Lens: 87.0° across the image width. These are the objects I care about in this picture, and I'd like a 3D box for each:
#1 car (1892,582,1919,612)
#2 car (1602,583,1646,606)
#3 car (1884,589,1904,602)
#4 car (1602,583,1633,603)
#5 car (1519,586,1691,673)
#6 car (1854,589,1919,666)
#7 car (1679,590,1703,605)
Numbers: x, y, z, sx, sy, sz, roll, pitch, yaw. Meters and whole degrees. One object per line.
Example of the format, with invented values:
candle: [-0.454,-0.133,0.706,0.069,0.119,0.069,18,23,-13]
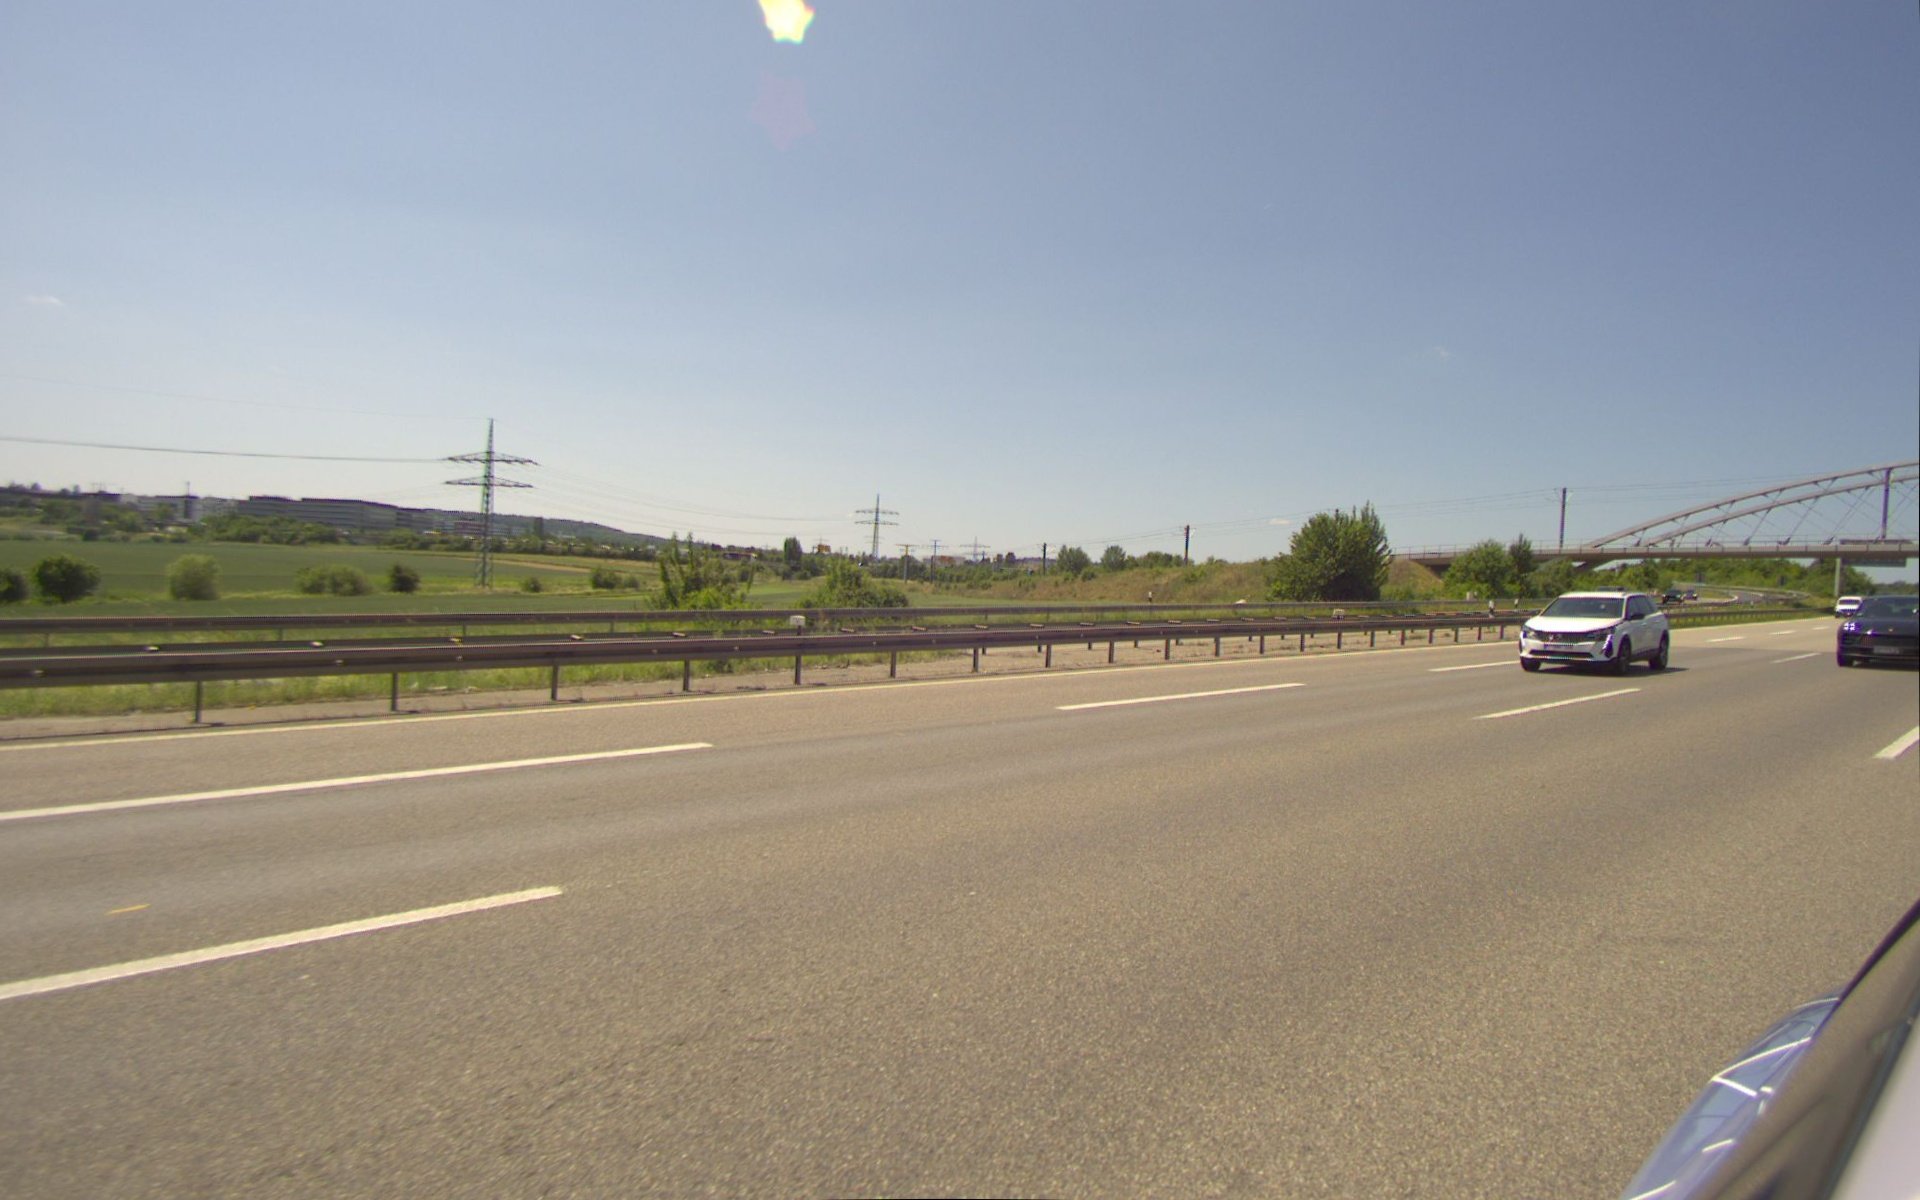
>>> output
car: [64.513,-0.231,68.532,4.225,1.943,1.805,-1,1,-44]
car: [45.890,-0.399,69.915,4.061,1.594,1.700,-1,1,-45]
car: [157.347,-0.764,170.543,3.930,2.039,1.997,0,1,-40]
car: [55.332,-0.584,85.143,1.697,1.594,4.069,1,1,40]
car: [13.403,0.530,20.917,4.538,1.611,1.747,0,1,-40]
car: [21.464,0.557,22.731,1.927,1.615,4.067,1,1,44]
car: [82.097,-0.313,113.646,1.700,1.594,4.062,1,1,44]
